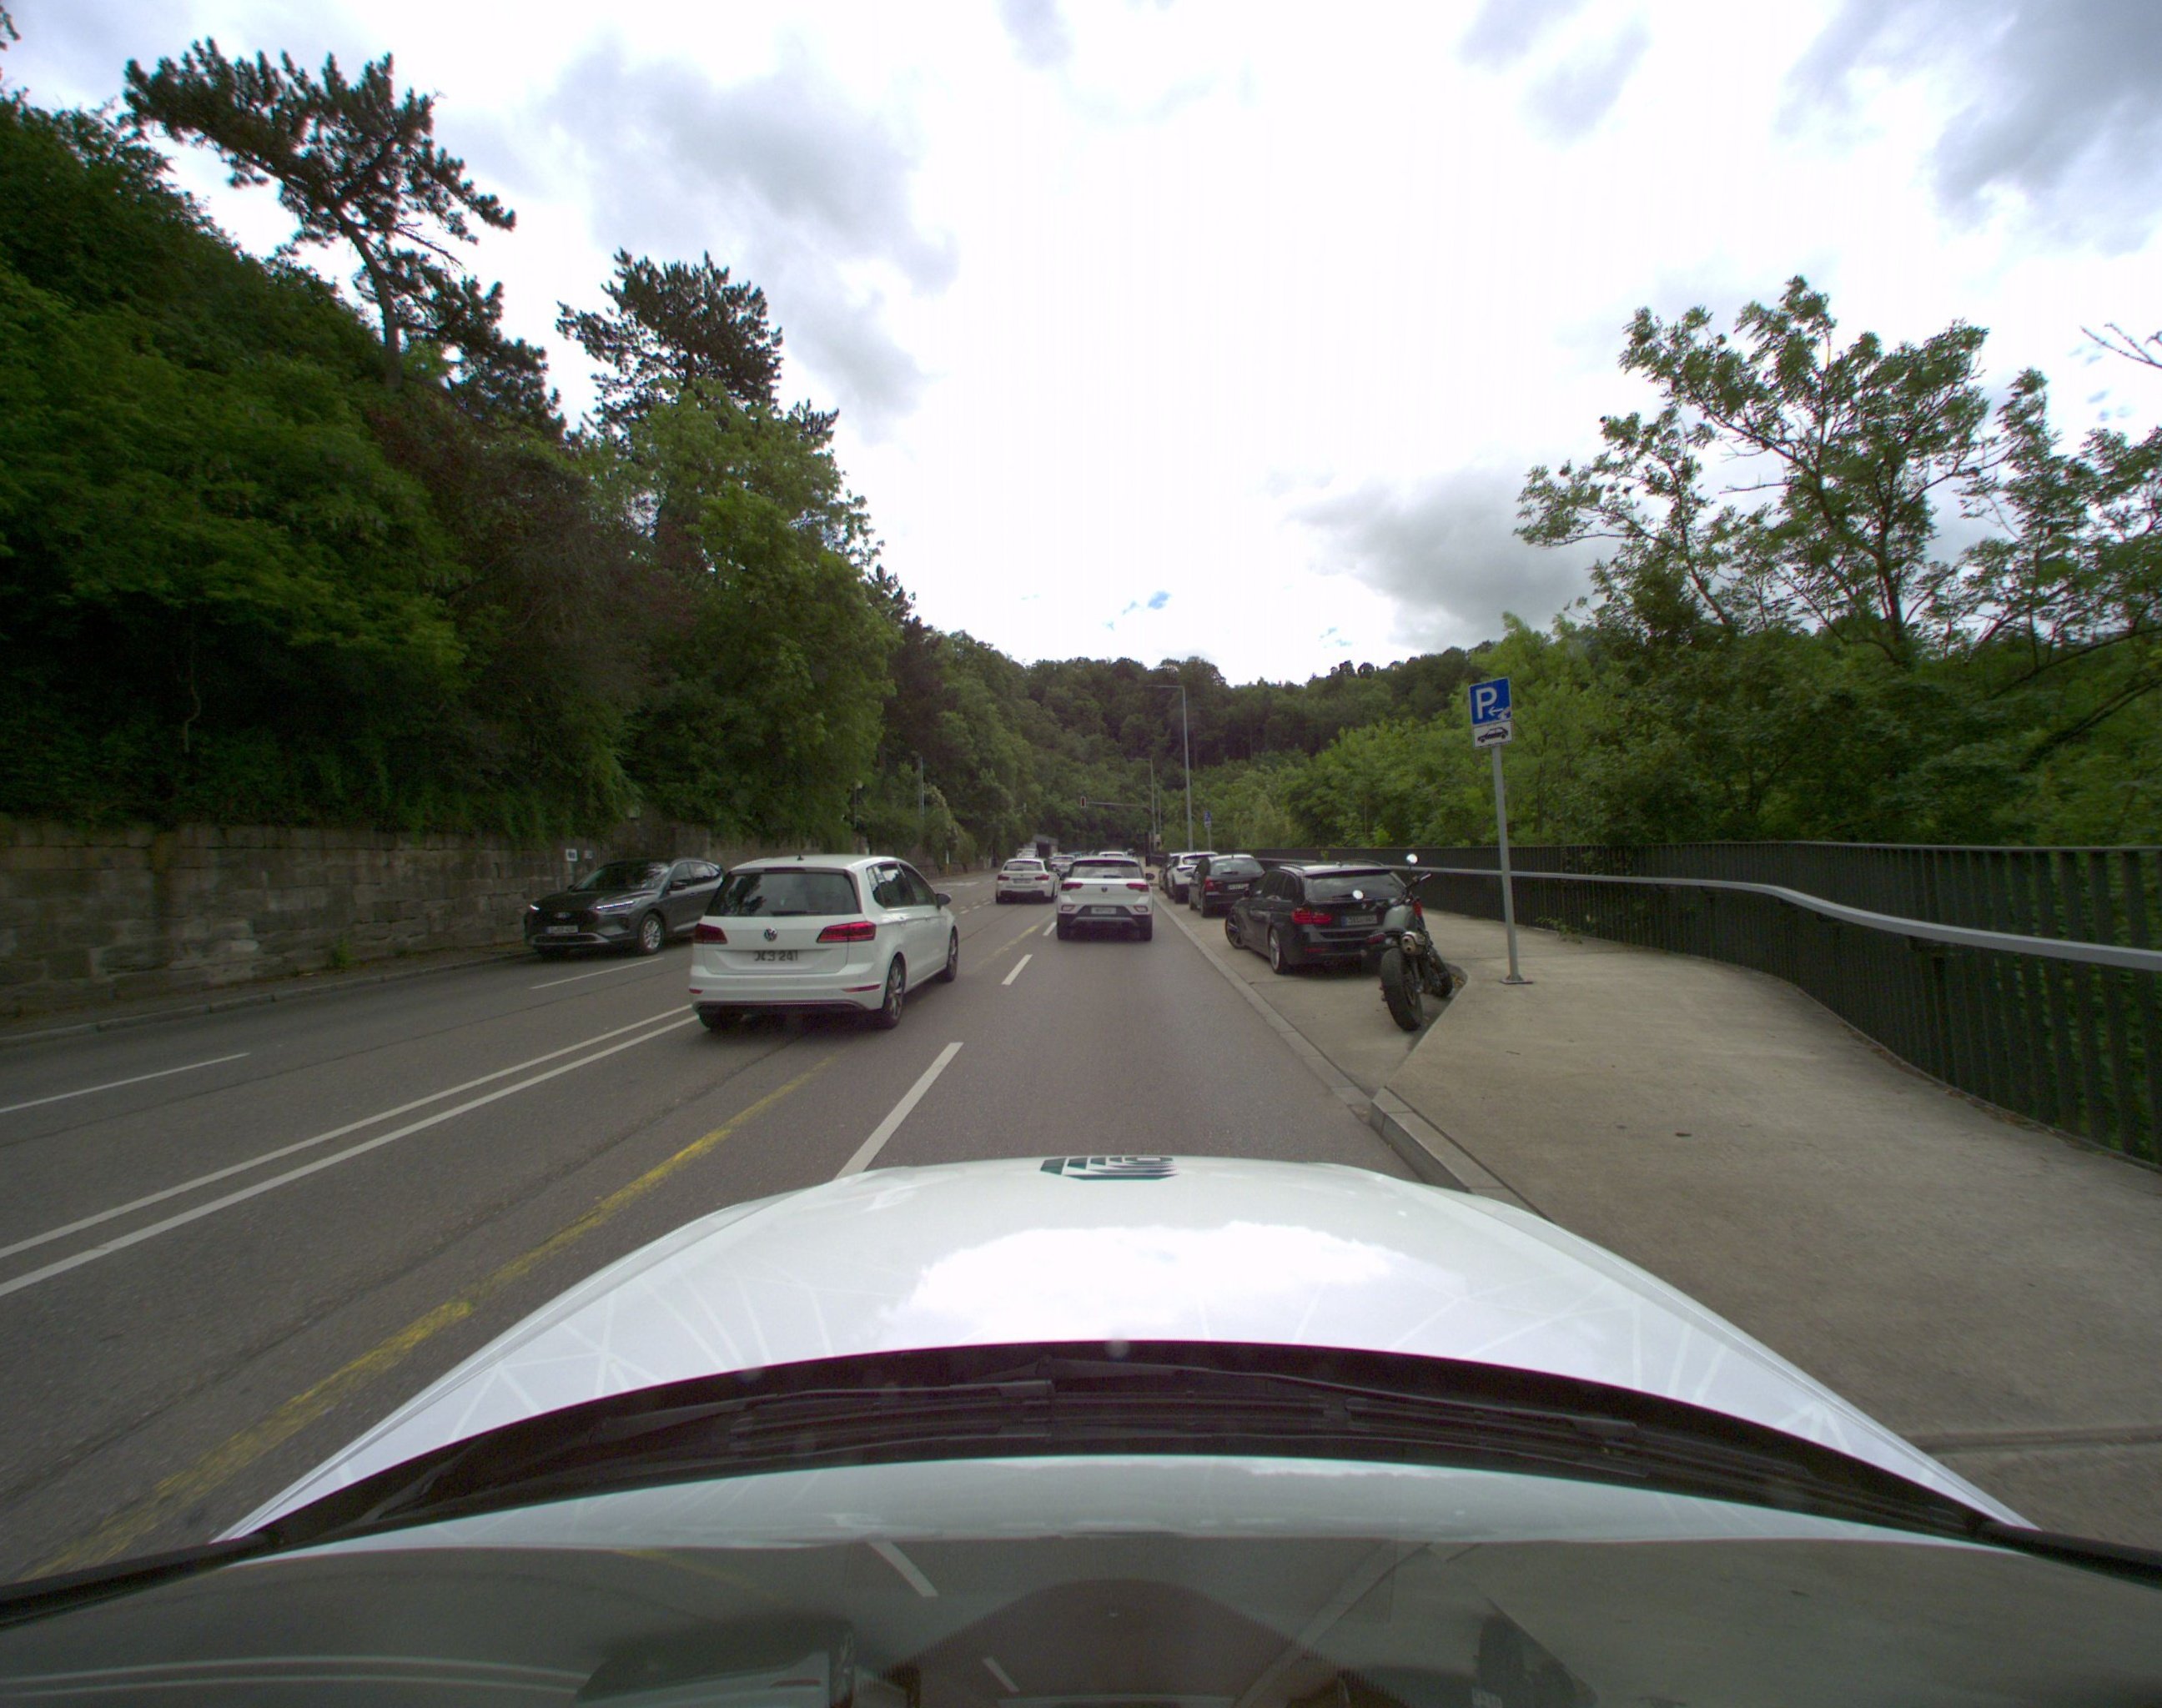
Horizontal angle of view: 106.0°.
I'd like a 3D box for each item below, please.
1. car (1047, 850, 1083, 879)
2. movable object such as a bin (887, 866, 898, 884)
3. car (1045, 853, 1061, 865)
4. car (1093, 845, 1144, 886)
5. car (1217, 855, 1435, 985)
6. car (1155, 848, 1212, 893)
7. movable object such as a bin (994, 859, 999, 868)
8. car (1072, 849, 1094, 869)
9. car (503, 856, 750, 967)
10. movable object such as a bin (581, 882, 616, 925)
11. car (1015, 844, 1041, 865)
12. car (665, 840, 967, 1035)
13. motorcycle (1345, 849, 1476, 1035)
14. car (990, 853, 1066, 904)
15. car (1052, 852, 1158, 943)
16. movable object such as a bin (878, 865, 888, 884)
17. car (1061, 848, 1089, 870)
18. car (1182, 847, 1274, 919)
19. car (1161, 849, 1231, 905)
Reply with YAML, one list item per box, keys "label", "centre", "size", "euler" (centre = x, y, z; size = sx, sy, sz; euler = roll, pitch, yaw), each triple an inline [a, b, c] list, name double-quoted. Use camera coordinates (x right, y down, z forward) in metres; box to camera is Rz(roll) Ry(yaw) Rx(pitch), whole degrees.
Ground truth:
- label: "car"
  centre: [-0.897, 0.605, 48.551]
  size: [1.855, 1.595, 4.003]
  euler: [1, 0, 3]
- label: "movable object such as a bin"
  centre: [-9.980, 1.106, 43.135]
  size: [0.478, 0.936, 0.365]
  euler: [1, -1, -3]
- label: "car"
  centre: [-3.635, 0.595, 106.648]
  size: [1.669, 1.442, 4.238]
  euler: [1, 1, 4]
- label: "car"
  centre: [1.890, 0.546, 39.539]
  size: [1.981, 1.843, 4.161]
  euler: [1, 0, 9]
- label: "car"
  centre: [3.229, 0.777, 11.699]
  size: [1.817, 1.401, 4.320]
  euler: [-4, 0, 1]
- label: "car"
  centre: [4.033, 0.600, 32.653]
  size: [1.750, 1.544, 4.429]
  euler: [-4, 0, 2]
- label: "movable object such as a bin"
  centre: [-8.438, 0.929, 81.657]
  size: [0.425, 0.950, 0.479]
  euler: [1, -1, 1]
- label: "car"
  centre: [0.227, 0.465, 79.717]
  size: [1.985, 1.864, 4.003]
  euler: [-1, 0, 3]
- label: "car"
  centre: [-7.972, 0.904, 14.879]
  size: [1.808, 1.697, 4.473]
  euler: [-1, 0, 3]
- label: "movable object such as a bin"
  centre: [-11.328, 1.158, 19.118]
  size: [0.515, 0.966, 0.474]
  euler: [-1, 0, -2]
- label: "car"
  centre: [-5.214, 0.018, 80.537]
  size: [1.914, 2.005, 5.359]
  euler: [-1, 0, 2]
- label: "car"
  centre: [-2.439, 0.668, 8.703]
  size: [1.714, 1.554, 4.277]
  euler: [-1, 0, 1]
- label: "motorcycle"
  centre: [3.193, 0.691, 7.716]
  size: [0.762, 1.467, 2.520]
  euler: [-1, 0, 30]
- label: "car"
  centre: [-1.676, 0.745, 27.307]
  size: [1.985, 1.557, 4.685]
  euler: [0, 0, 3]
- label: "car"
  centre: [0.379, 0.777, 16.277]
  size: [1.809, 1.539, 4.006]
  euler: [-2, 0, -2]
- label: "movable object such as a bin"
  centre: [-10.486, 1.091, 43.120]
  size: [0.476, 0.971, 0.367]
  euler: [1, -1, -3]
- label: "car"
  centre: [-0.429, 0.393, 66.071]
  size: [1.985, 1.741, 4.003]
  euler: [-1, 0, 3]
- label: "car"
  centre: [3.672, 0.674, 21.048]
  size: [1.653, 1.572, 4.257]
  euler: [-4, 0, 2]
- label: "car"
  centre: [3.632, 0.693, 26.443]
  size: [1.720, 1.568, 4.626]
  euler: [-2, 0, 2]
